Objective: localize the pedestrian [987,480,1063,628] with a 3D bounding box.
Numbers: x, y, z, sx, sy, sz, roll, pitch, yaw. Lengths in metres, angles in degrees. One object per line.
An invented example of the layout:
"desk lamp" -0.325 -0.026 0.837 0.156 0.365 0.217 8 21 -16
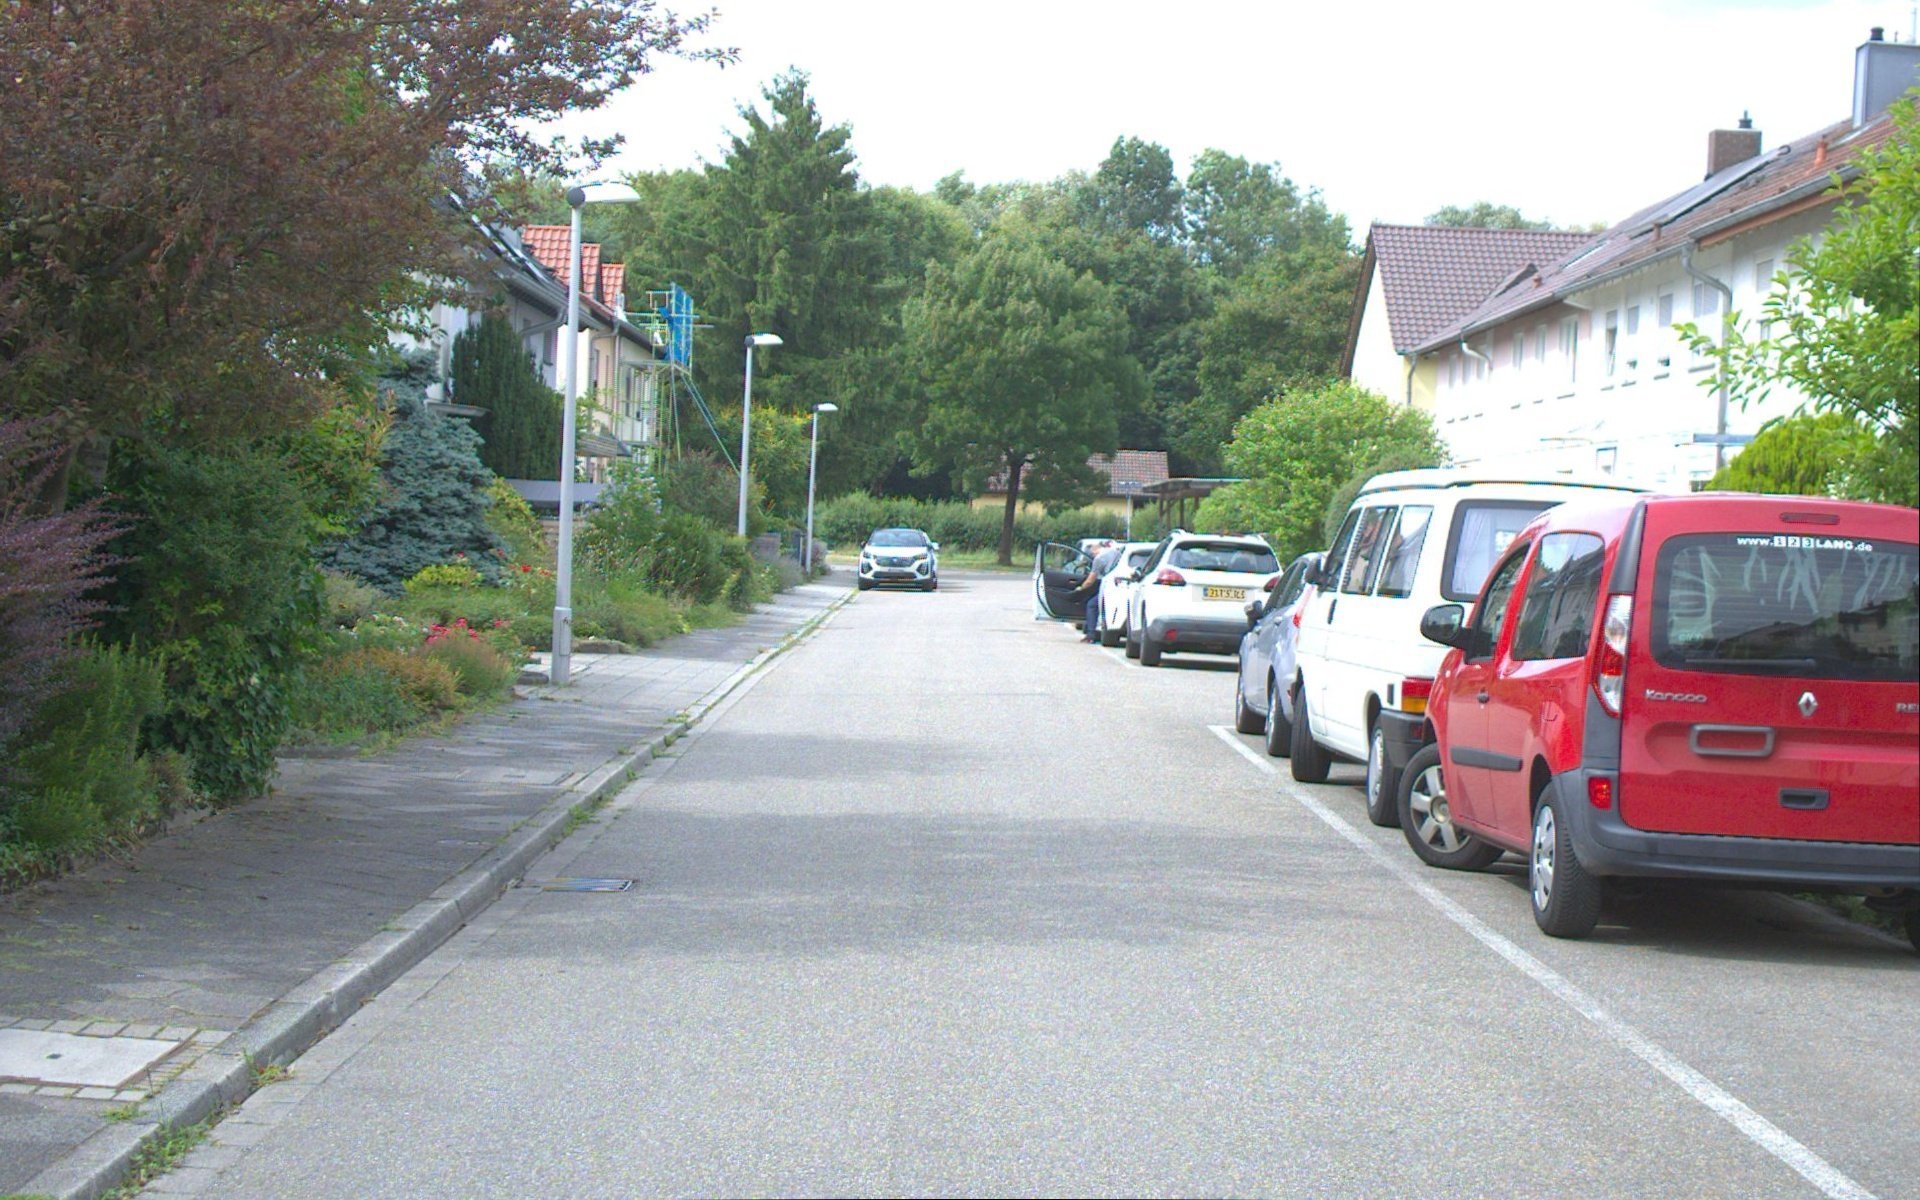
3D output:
"pedestrian" 0.890 -0.640 47.638 0.912 2.007 0.951 2 1 -4

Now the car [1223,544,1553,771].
"car" 3.052 0.355 25.334 1.900 1.454 4.129 2 1 0

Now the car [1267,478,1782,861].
"car" 3.144 0.304 20.227 2.020 1.940 4.748 2 1 -2

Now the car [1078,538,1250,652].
"car" 2.756 -0.104 47.433 1.838 1.408 4.638 2 1 -3

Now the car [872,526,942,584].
"car" -1.451 -1.261 95.558 1.792 1.526 4.140 2 1 0

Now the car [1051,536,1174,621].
"car" 2.794 -0.426 63.779 1.864 1.412 4.254 2 1 -2

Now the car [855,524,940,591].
"car" -1.510 -1.070 84.700 1.934 1.551 4.634 2 1 0

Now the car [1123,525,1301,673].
"car" 2.893 -0.052 40.169 1.714 1.538 3.974 4 1 0

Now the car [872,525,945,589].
"car" -1.329 -1.144 90.098 1.810 1.556 4.848 2 1 0

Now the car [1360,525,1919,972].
"car" 3.091 0.524 15.231 1.810 1.645 4.411 1 1 -4
